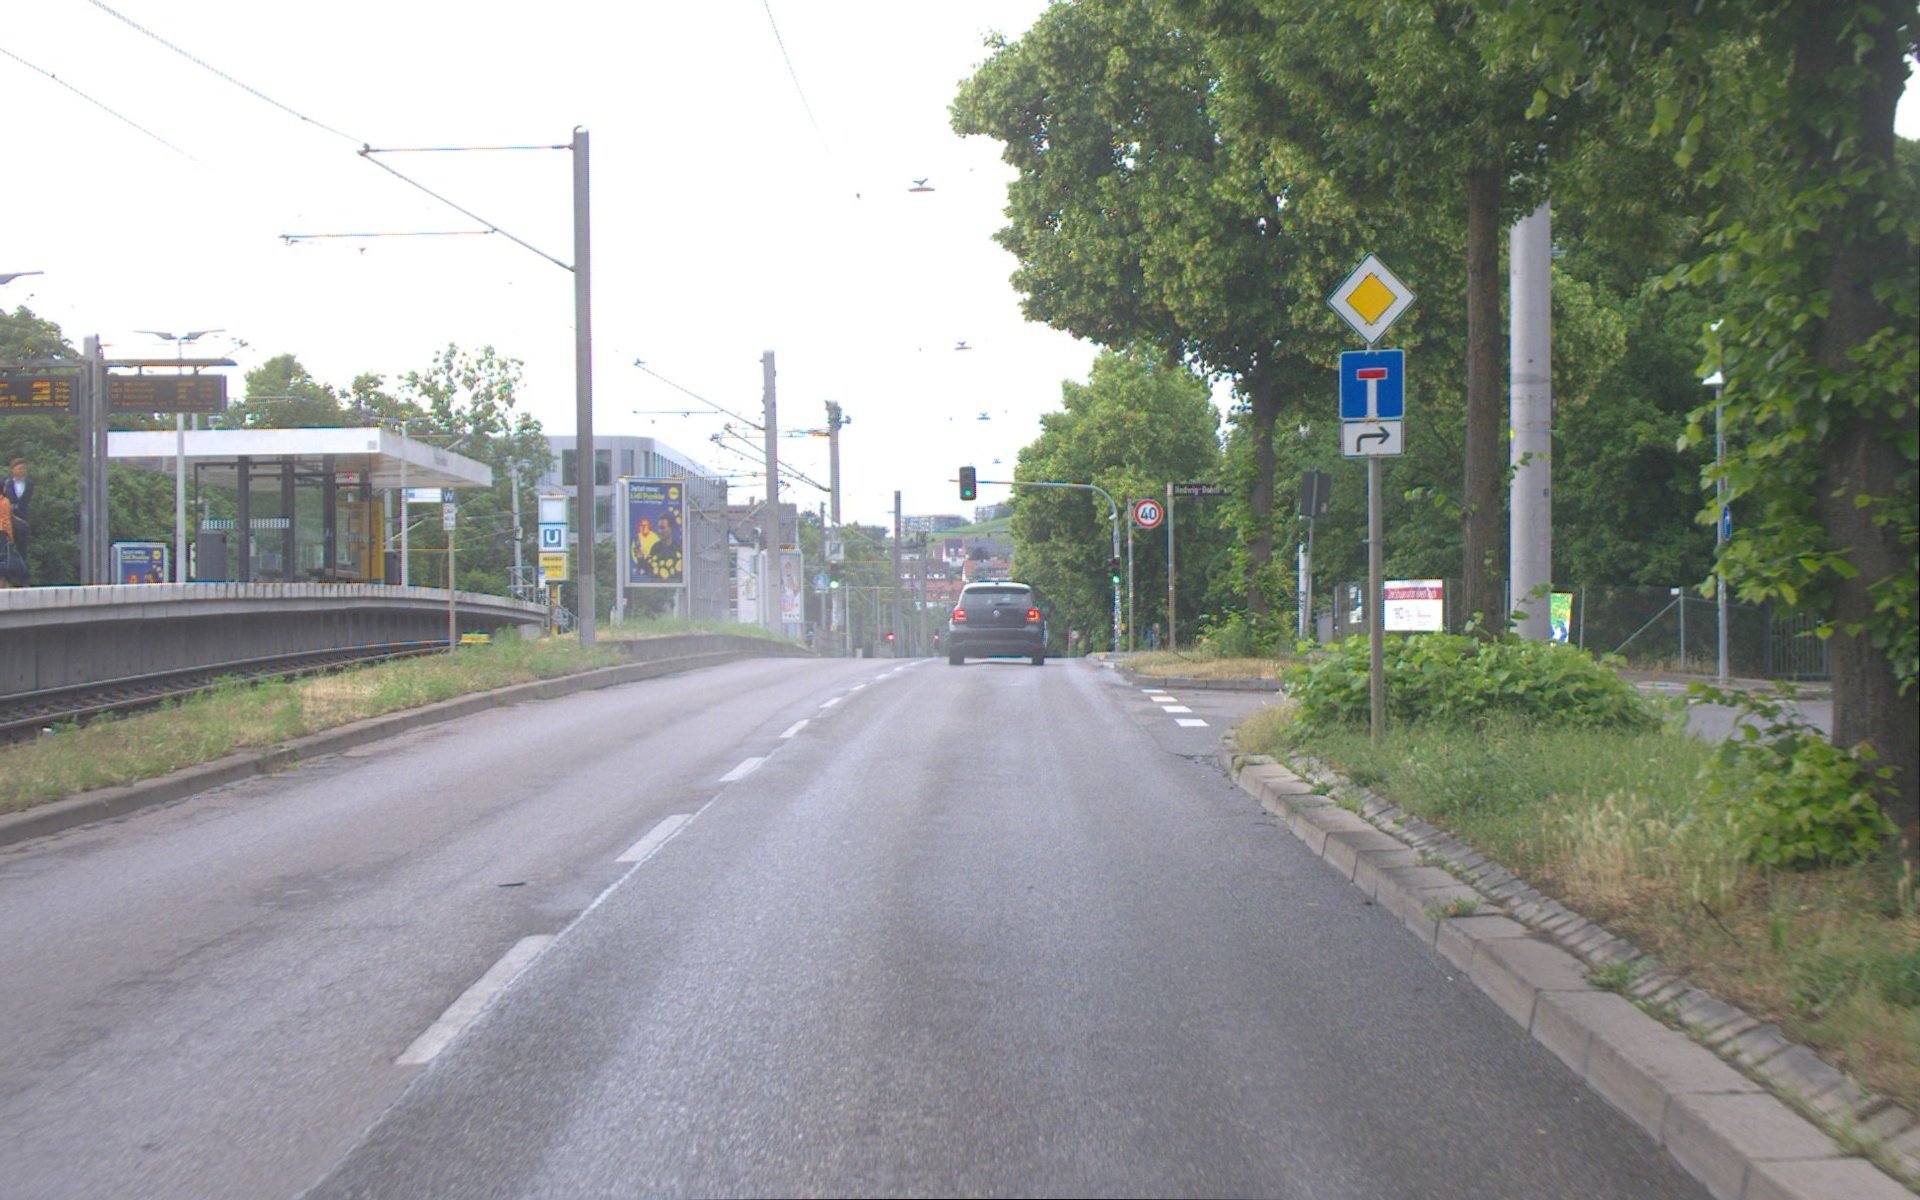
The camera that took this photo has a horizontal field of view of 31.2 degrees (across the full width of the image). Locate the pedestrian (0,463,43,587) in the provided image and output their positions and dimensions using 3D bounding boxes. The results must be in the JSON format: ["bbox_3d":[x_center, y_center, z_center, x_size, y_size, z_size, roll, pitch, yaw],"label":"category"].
[{"bbox_3d":[-12.827,-1.018,46.339,0.794,1.641,0.919,1,2,-21],"label":"pedestrian"}]

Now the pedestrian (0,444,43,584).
[{"bbox_3d":[-13.051,-1.192,47.269,0.743,1.903,0.842,1,2,-20],"label":"pedestrian"}]

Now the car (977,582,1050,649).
[{"bbox_3d":[1.265,0.359,83.216,1.687,1.512,4.000,0,1,0],"label":"car"}]

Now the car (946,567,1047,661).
[{"bbox_3d":[0.621,0.225,60.538,1.726,1.535,4.000,0,1,0],"label":"car"}]
